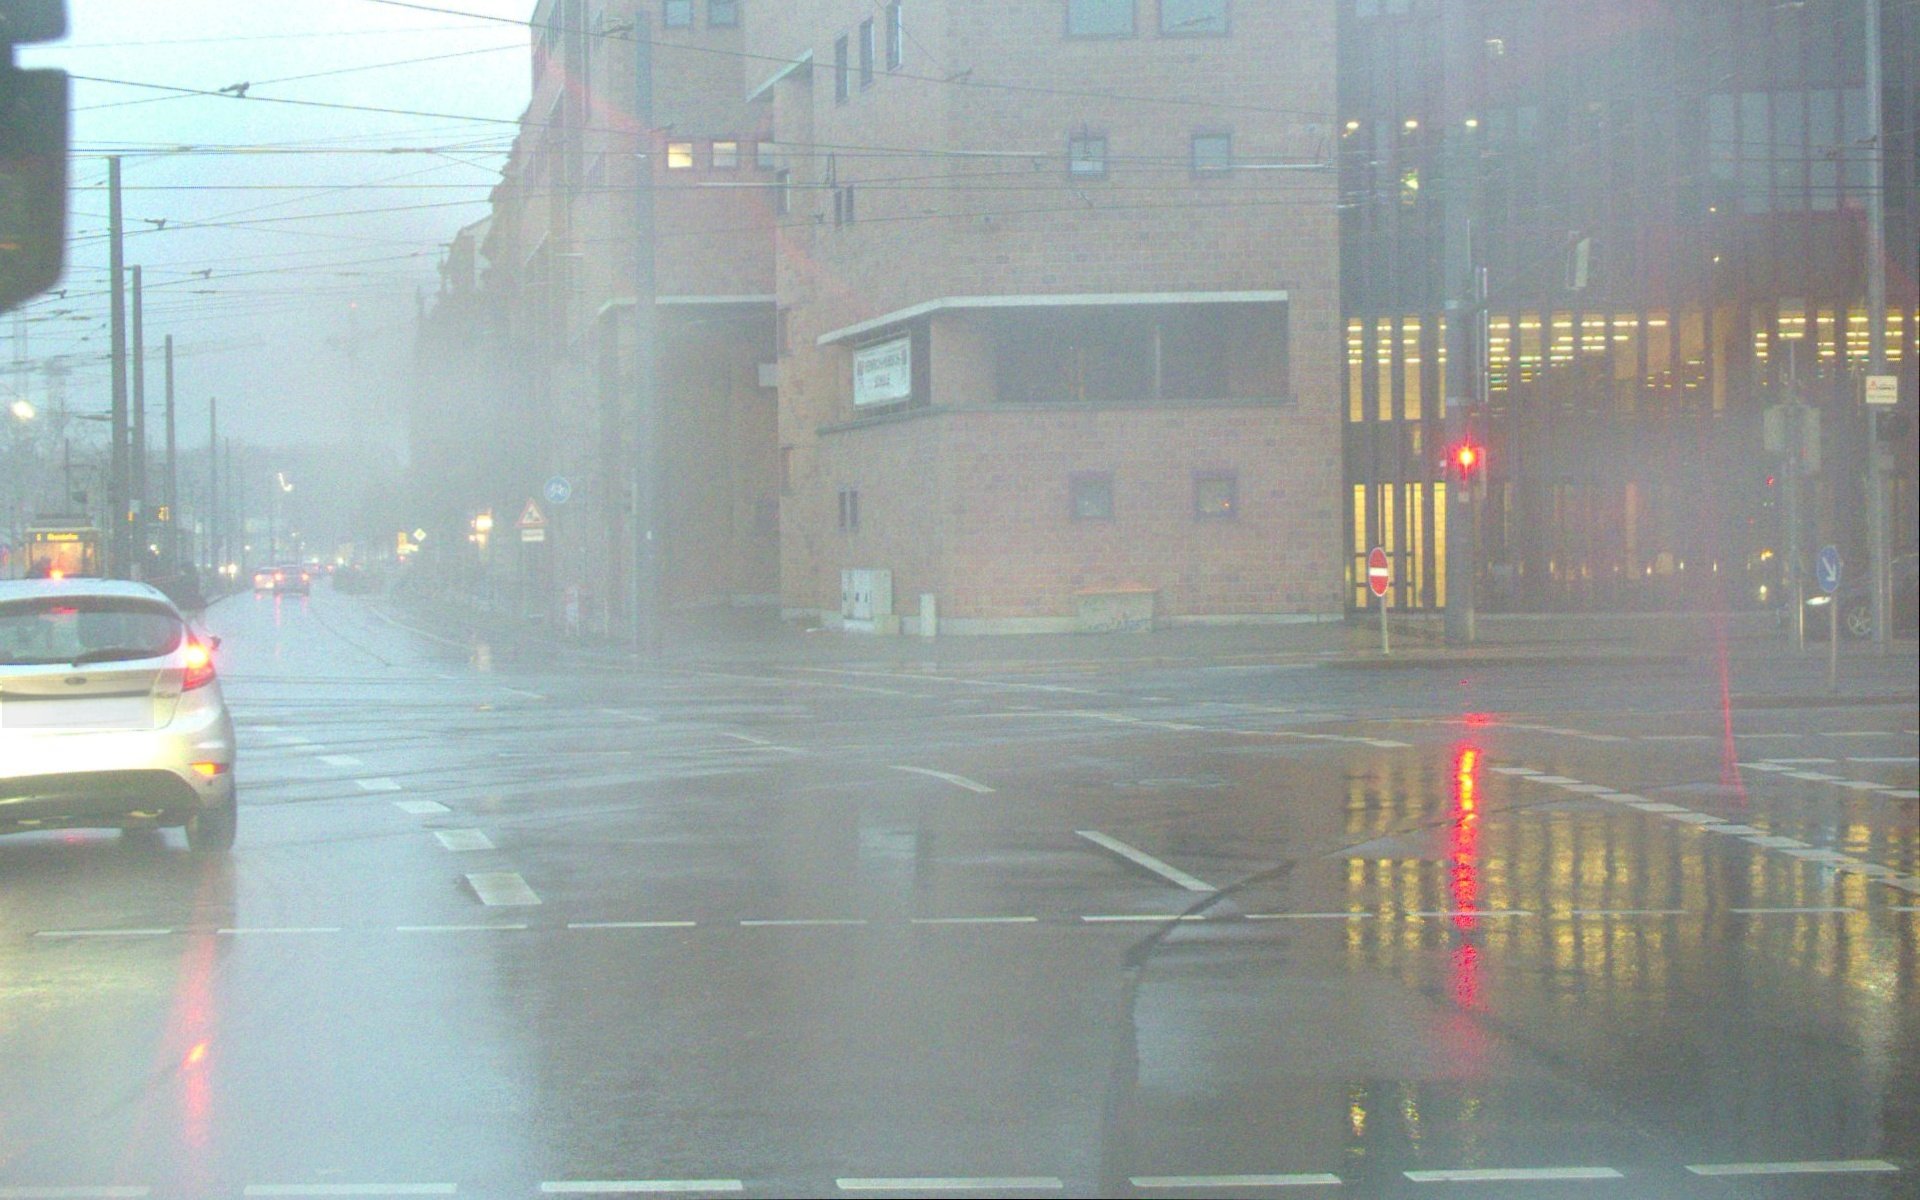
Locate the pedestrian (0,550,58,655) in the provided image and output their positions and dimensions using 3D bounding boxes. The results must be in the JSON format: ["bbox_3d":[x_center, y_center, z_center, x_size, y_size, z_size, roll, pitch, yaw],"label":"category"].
[{"bbox_3d":[-18.046,0.042,66.311,0.981,2.007,0.834,0,1,14],"label":"pedestrian"}]

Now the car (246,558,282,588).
[{"bbox_3d":[-39.509,-1.542,195.241,1.870,1.573,4.001,1,1,-10],"label":"car"}]

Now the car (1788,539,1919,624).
[{"bbox_3d":[15.696,-0.332,55.726,3.986,1.305,2.000,-1,1,-4],"label":"car"}]

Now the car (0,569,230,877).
[{"bbox_3d":[-5.043,0.575,18.435,1.705,1.443,4.001,-1,1,-19],"label":"car"}]

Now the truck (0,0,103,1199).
[{"bbox_3d":[-3.026,-0.228,2.968,2.839,3.621,7.527,-1,1,-2],"label":"truck"}]

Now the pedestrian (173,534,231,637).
[{"bbox_3d":[-14.908,-0.285,67.577,1.068,2.007,0.685,-1,1,-13],"label":"pedestrian"}]
